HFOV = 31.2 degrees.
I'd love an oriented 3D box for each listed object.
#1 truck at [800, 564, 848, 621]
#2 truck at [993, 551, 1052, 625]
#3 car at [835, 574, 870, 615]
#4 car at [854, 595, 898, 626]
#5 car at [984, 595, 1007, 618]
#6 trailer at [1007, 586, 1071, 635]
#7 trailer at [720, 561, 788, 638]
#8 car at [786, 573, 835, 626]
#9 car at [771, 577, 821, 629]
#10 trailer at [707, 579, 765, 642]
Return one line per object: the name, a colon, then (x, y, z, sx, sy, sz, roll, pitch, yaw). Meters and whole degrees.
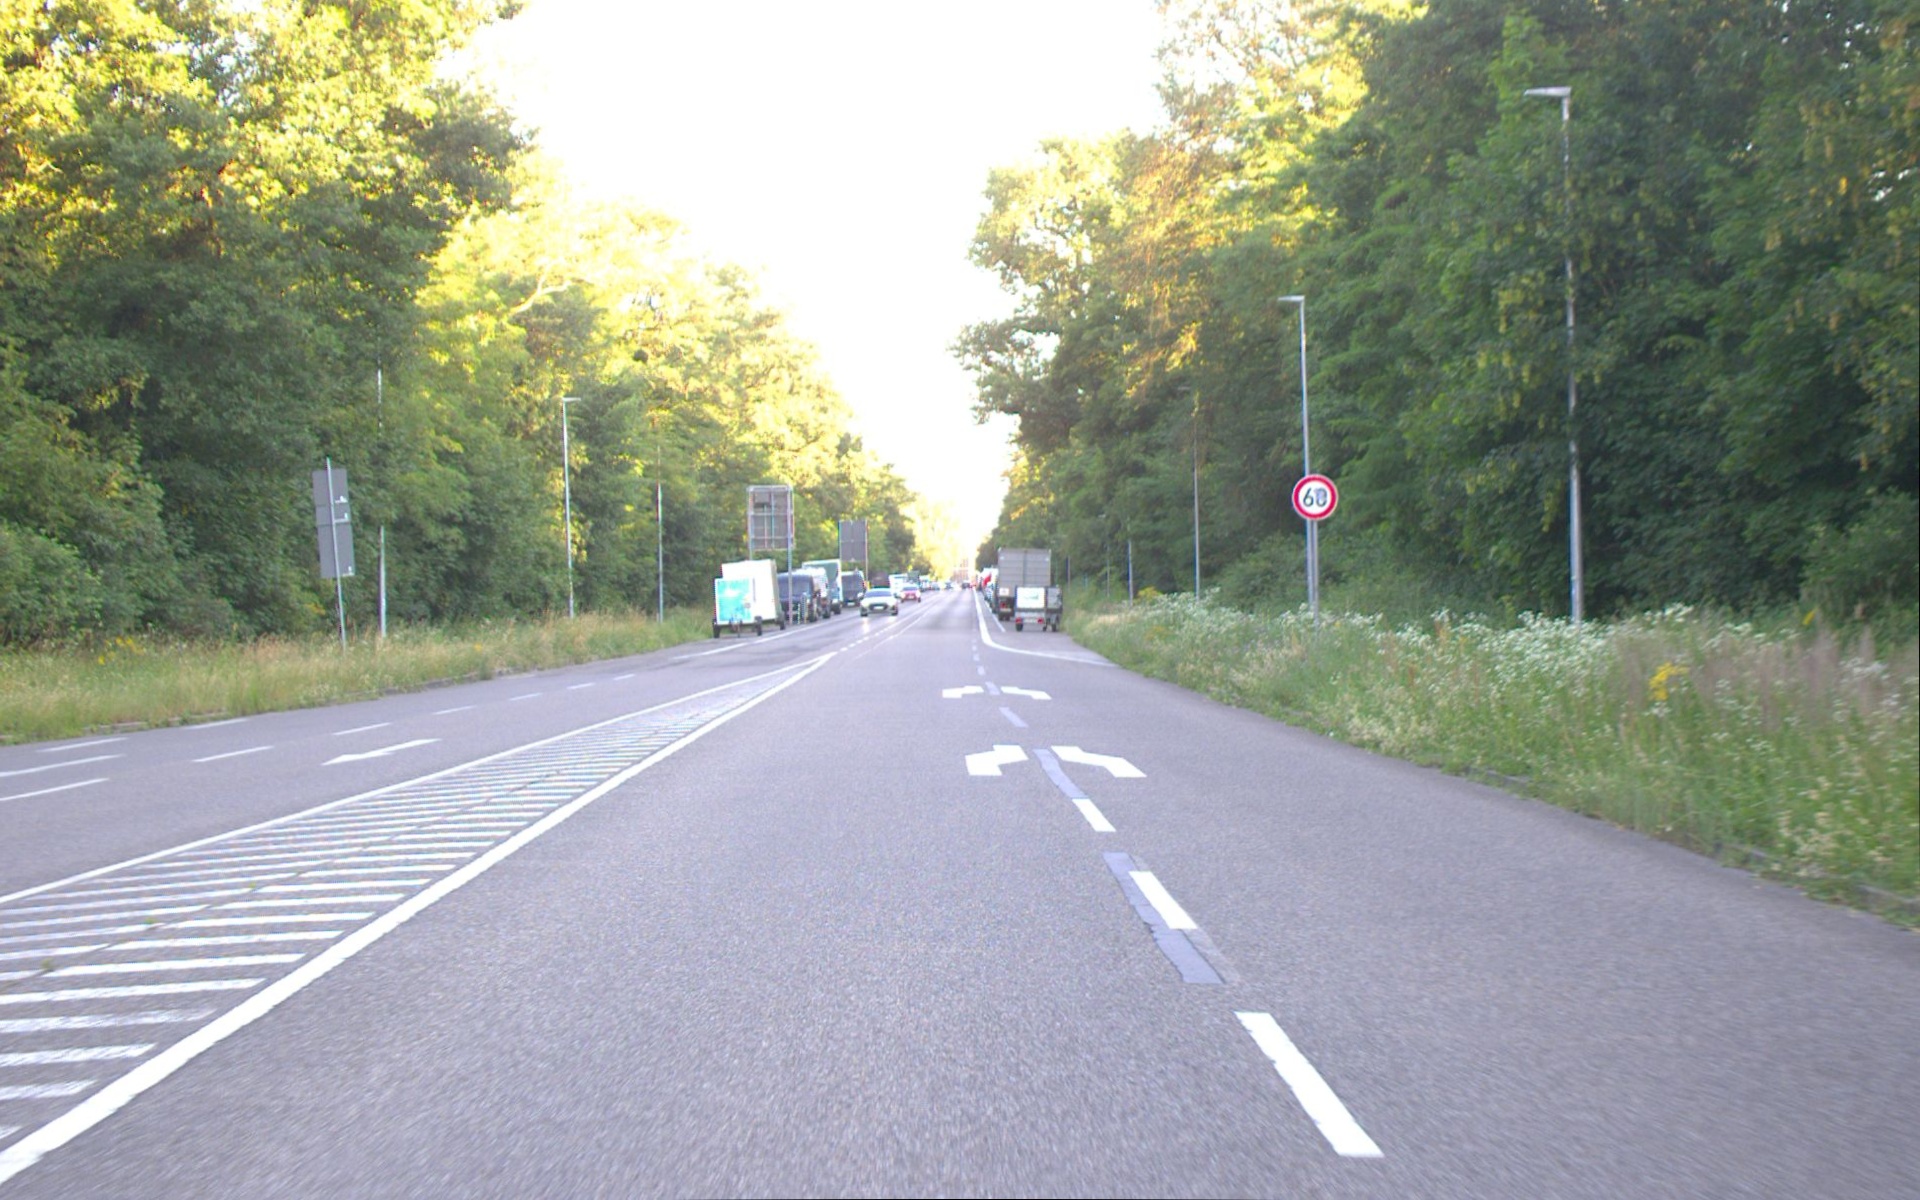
truck: (-8.147, -0.472, 207.016, 2.504, 3.317, 6.841, -2, 0, 0)
truck: (2.840, -0.539, 155.044, 2.589, 3.244, 7.220, 0, 0, 2)
car: (-7.524, -0.417, 241.658, 2.186, 2.779, 5.334, -2, 0, 0)
car: (-4.506, 0.554, 185.177, 2.063, 1.430, 4.466, -3, 1, 2)
car: (2.345, 0.425, 228.041, 1.147, 1.247, 2.754, -11, 2, -2)
trailer: (2.827, 0.366, 122.538, 1.457, 1.656, 3.775, -2, 0, 13)
trailer: (-8.275, -0.023, 138.577, 2.326, 2.914, 5.627, -3, 0, -1)
car: (-7.851, -0.050, 181.437, 2.249, 2.638, 5.721, -2, 0, 0)
car: (-7.802, 0.128, 163.874, 1.993, 2.356, 5.765, -3, 0, 0)
trailer: (-7.991, 0.356, 122.964, 1.817, 2.160, 4.143, -2, 0, -1)
